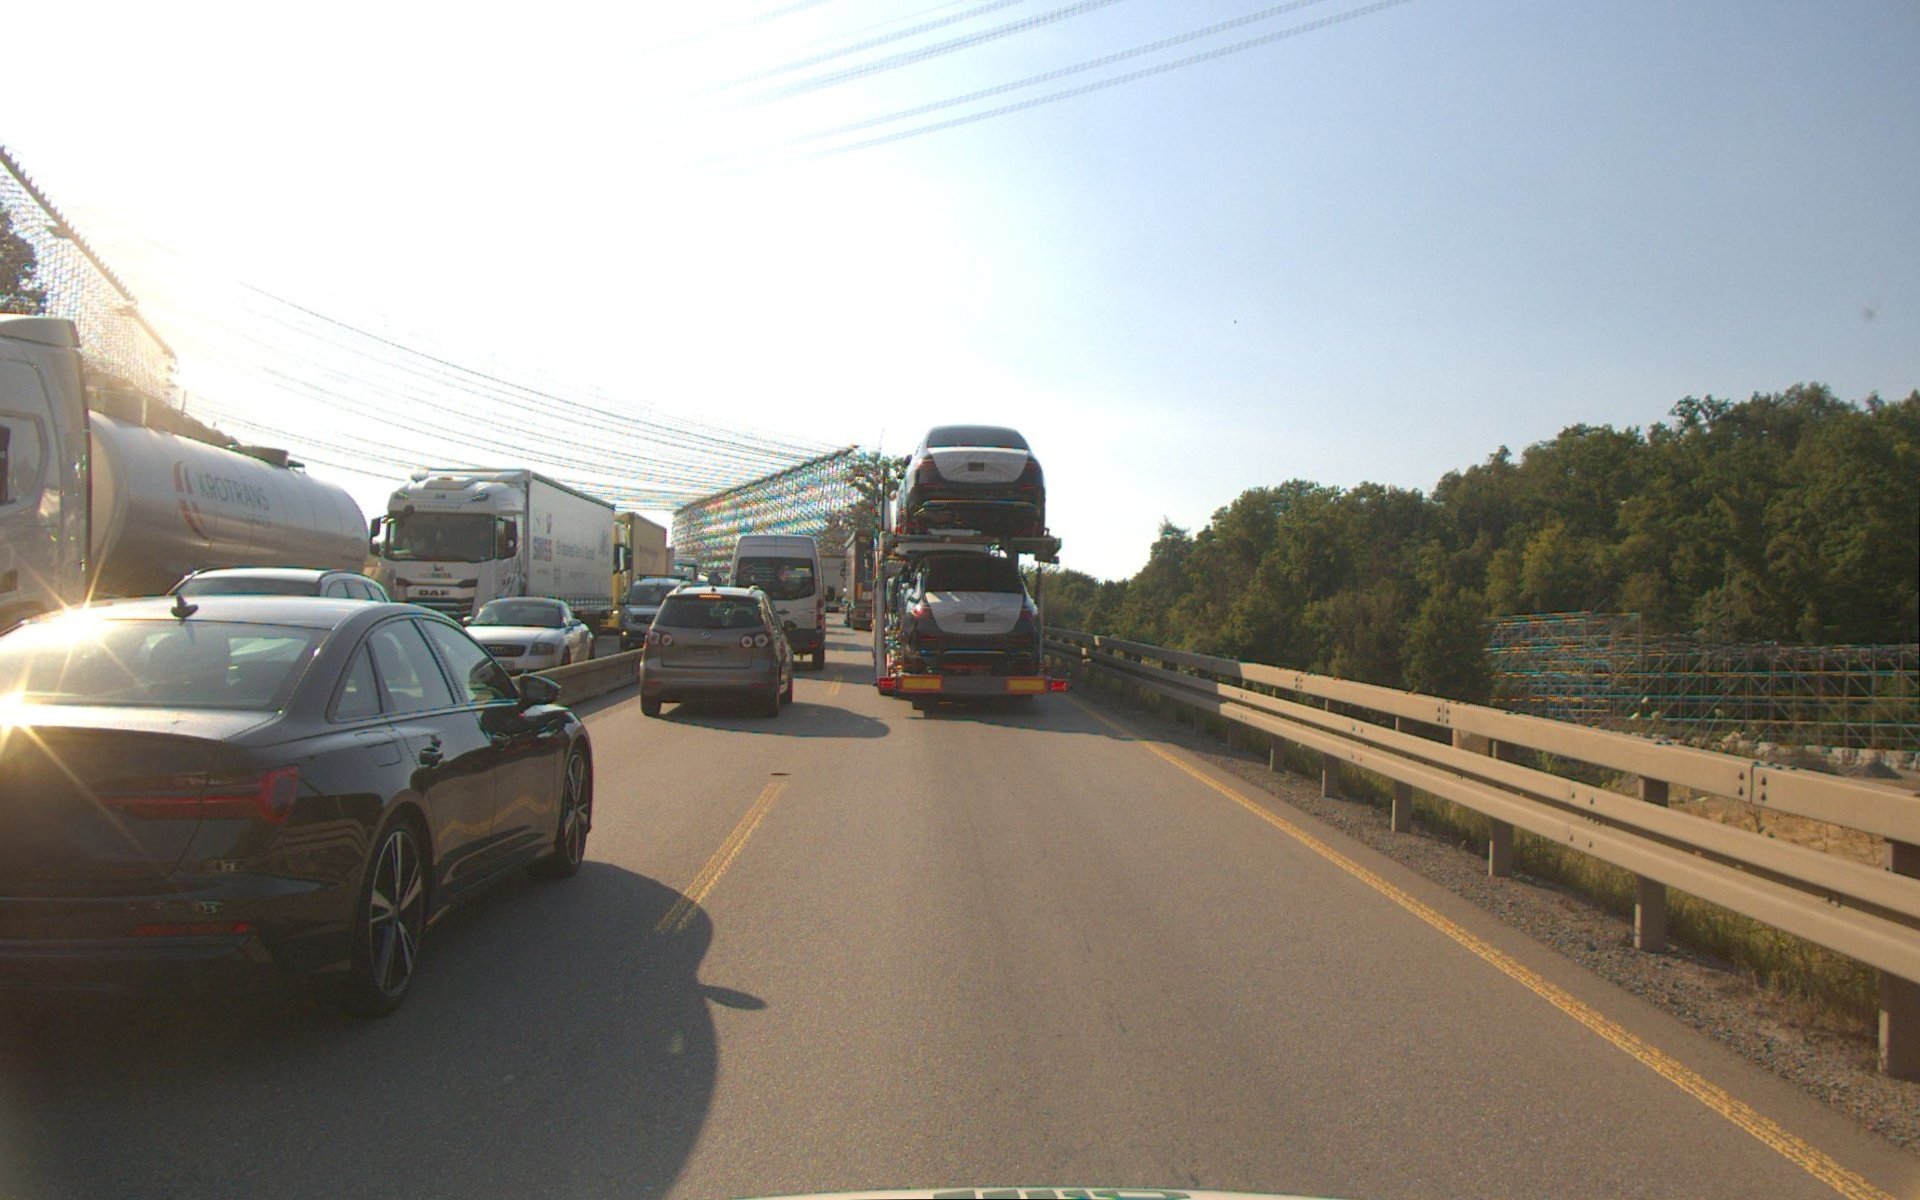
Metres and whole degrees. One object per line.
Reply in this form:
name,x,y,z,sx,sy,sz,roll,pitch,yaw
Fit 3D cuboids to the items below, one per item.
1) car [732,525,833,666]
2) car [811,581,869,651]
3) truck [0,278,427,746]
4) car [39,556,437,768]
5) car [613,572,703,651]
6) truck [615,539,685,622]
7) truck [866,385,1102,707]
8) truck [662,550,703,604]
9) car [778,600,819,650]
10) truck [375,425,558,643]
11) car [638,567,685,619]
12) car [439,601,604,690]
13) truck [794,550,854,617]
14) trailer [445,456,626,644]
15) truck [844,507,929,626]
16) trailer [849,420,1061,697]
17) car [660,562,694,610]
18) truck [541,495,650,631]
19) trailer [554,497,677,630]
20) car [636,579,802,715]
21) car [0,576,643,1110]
car,-3.612,-0.047,34.064,1.941,2.731,4.142,0,-1,-5
car,-3.661,0.501,50.131,1.636,2.019,3.813,0,-1,-6
truck,-9.951,-0.811,20.411,2.753,4.039,13.886,1,0,-3
car,-6.490,0.525,15.506,1.808,1.676,4.558,0,-1,-1
car,-7.956,0.273,43.910,1.797,1.950,4.860,1,0,-4
truck,-14.326,-0.806,76.858,2.312,3.593,7.690,0,-1,-4
truck,0.151,-0.623,23.742,2.814,4.050,5.765,0,-1,-5
truck,-21.718,-1.751,129.874,2.590,4.065,9.018,1,0,-6
car,-6.737,1.045,68.727,1.636,2.019,3.813,0,-1,-6
truck,-10.723,-1.249,36.548,2.395,4.347,6.316,0,-2,-3
car,-16.584,-0.340,92.072,2.087,2.798,5.497,0,-1,-6
car,-6.771,0.682,25.926,1.677,1.274,4.049,0,-1,-3
truck,-10.338,-1.251,124.859,3.581,4.758,11.670,1,0,-9
trailer,-11.179,-1.018,44.918,2.404,4.341,12.136,0,-2,-3
truck,-3.372,-1.387,72.475,3.165,4.758,11.682,1,0,-5
trailer,-0.567,-0.469,32.000,2.818,4.064,15.261,0,-1,-5
car,-17.022,-0.829,99.715,1.636,2.813,4.953,1,0,-6
truck,-12.191,-1.120,55.832,2.837,4.347,5.765,0,-1,-5
trailer,-12.778,-1.090,62.701,2.837,4.471,14.363,0,-1,-5
car,-3.075,0.603,21.820,1.666,1.615,4.145,0,-1,-2
car,-2.859,0.726,7.302,1.900,1.506,5.221,0,-1,0
